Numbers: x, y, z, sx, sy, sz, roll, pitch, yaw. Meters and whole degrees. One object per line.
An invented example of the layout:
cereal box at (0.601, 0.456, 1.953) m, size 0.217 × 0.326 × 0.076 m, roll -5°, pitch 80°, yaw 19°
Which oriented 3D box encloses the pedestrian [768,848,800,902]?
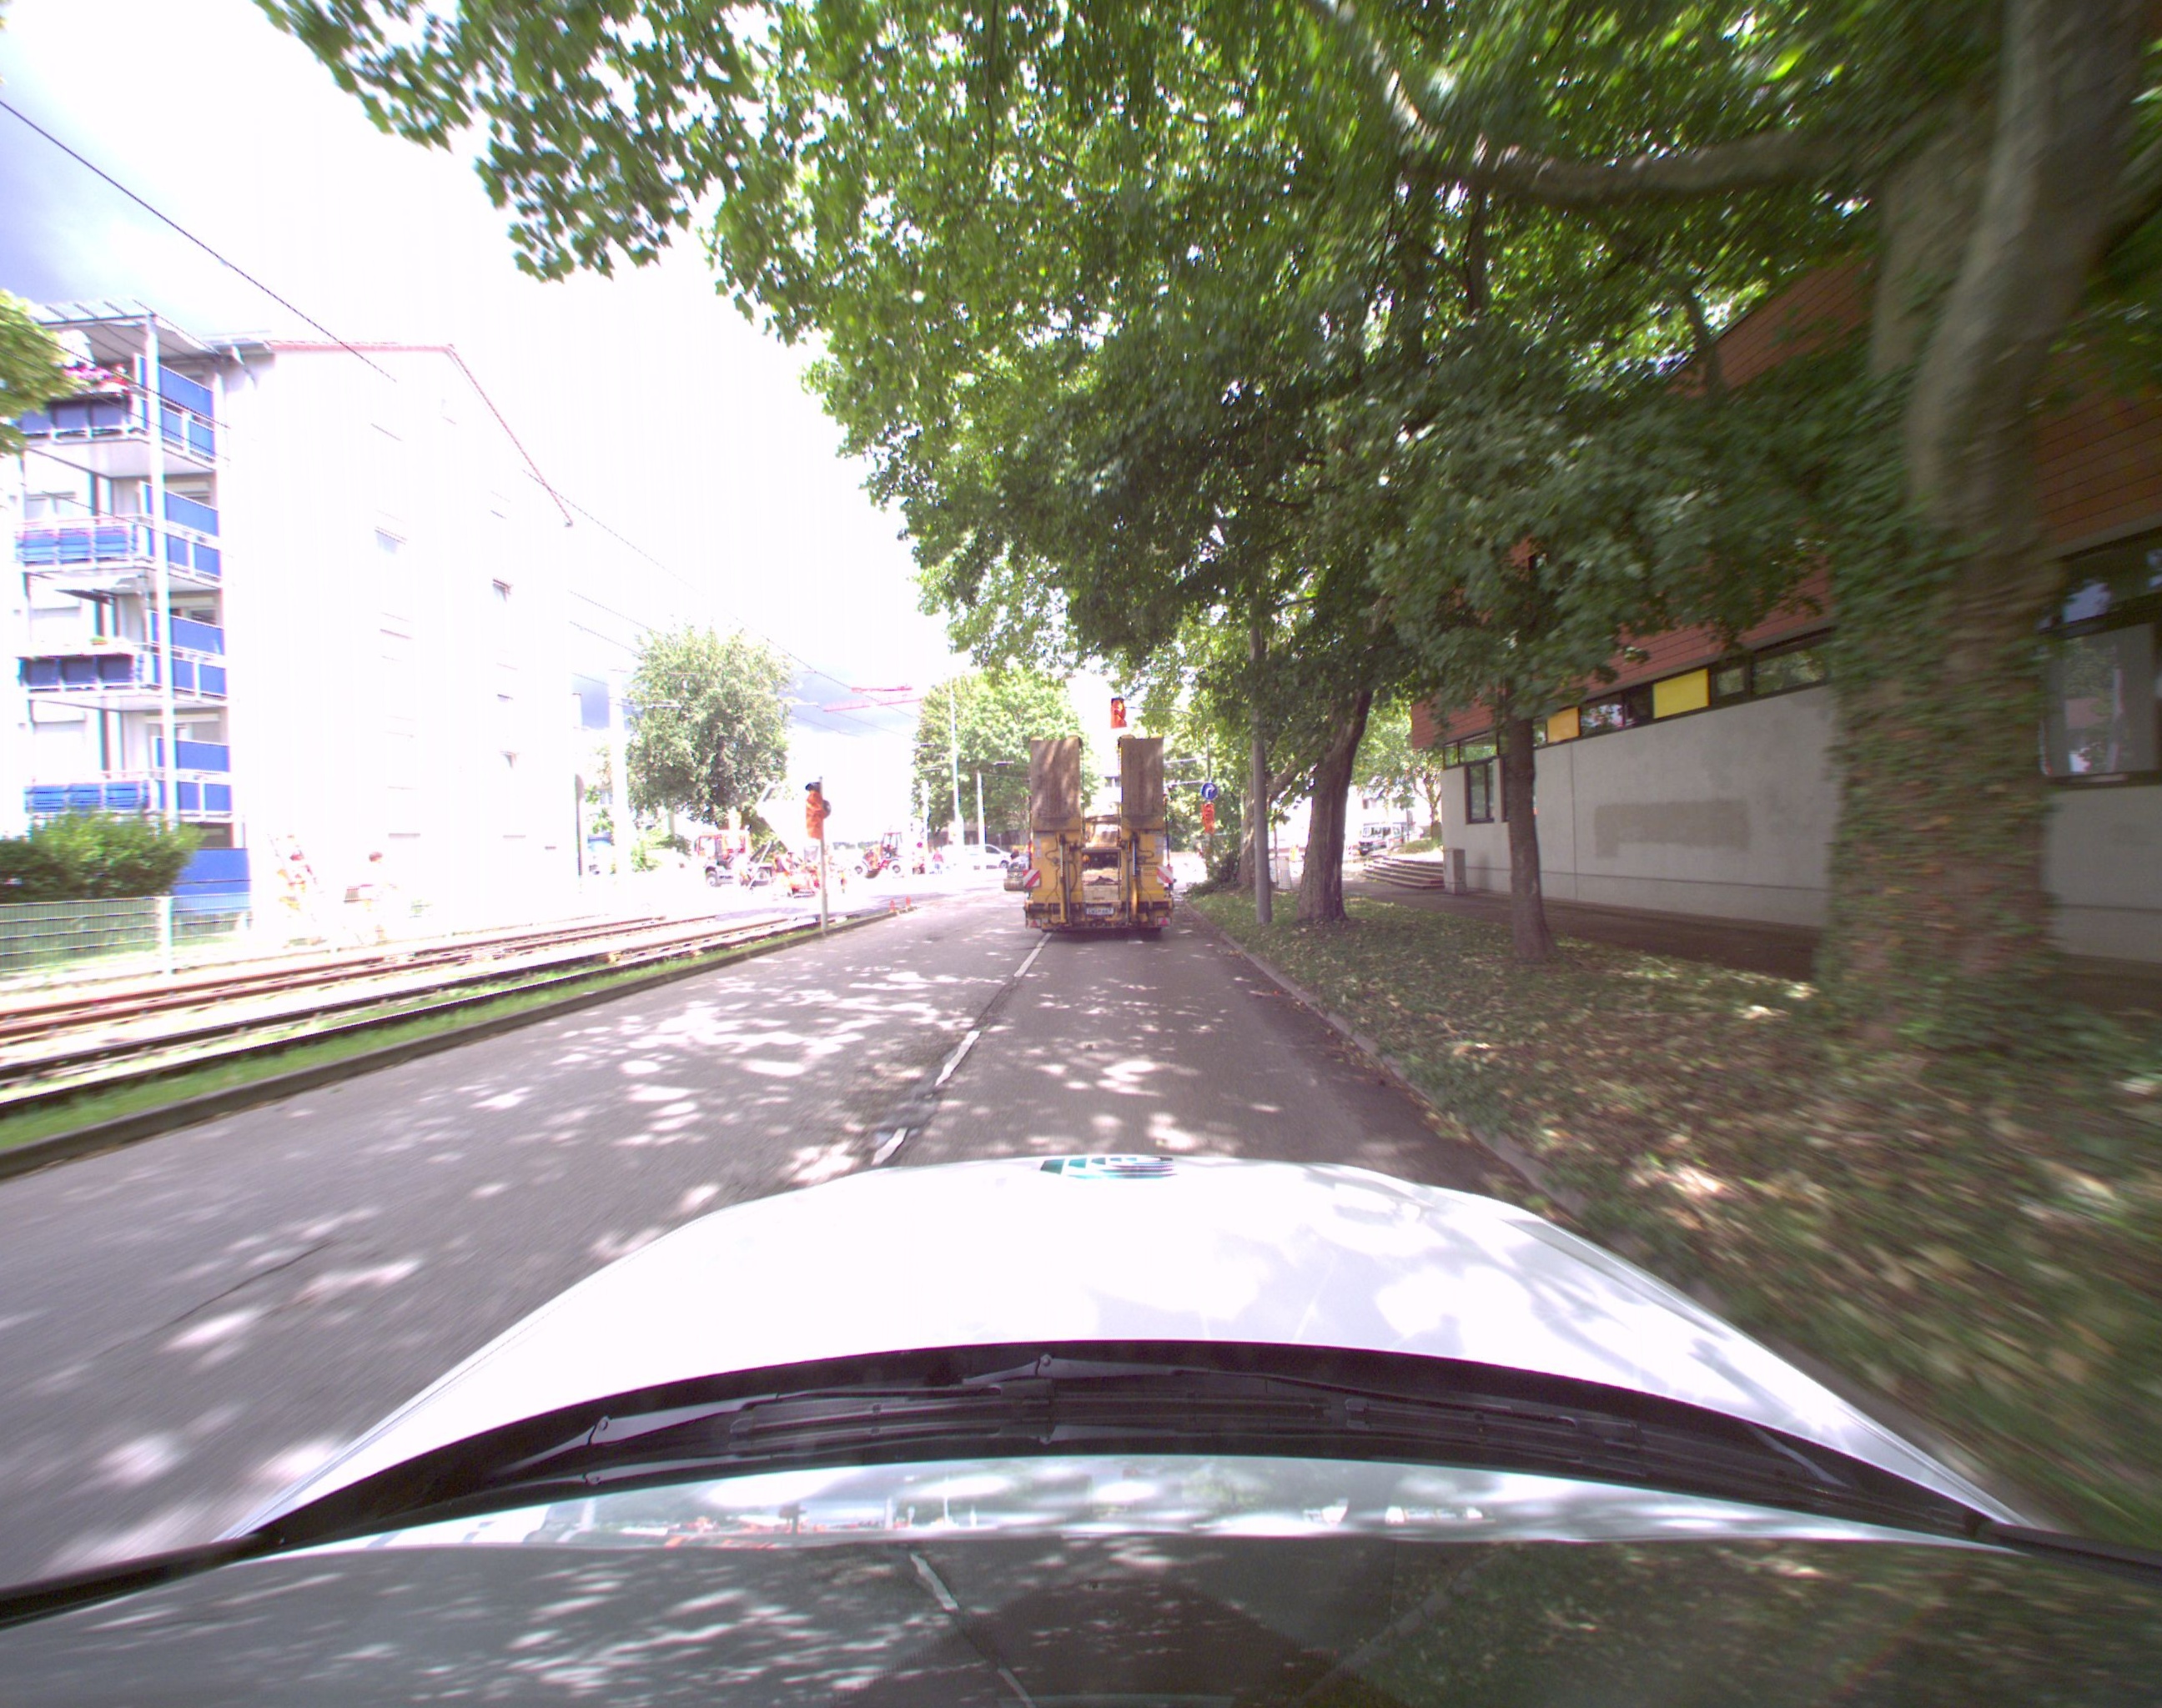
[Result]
pedestrian at (-9.976, 0.687, 27.404) m, size 0.887 × 1.760 × 0.833 m, roll -1°, pitch 0°, yaw -14°

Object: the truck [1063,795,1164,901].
truck at (1.318, -0.187, 28.508) m, size 2.975 × 3.135 × 7.898 m, roll -1°, pitch 0°, yaw 5°

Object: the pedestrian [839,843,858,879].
pedestrian at (-12.277, 0.380, 43.051) m, size 0.834 × 1.867 × 0.885 m, roll -1°, pitch 0°, yaw -10°

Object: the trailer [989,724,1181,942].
trailer at (0.536, -0.345, 19.078) m, size 3.139 × 3.552 × 11.112 m, roll -1°, pitch 0°, yaw 5°

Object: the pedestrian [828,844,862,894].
pedestrian at (-9.009, 0.547, 31.047) m, size 0.877 × 1.867 × 0.842 m, roll -1°, pitch 0°, yaw 31°

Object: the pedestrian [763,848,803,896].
pedestrian at (-10.836, 0.647, 29.616) m, size 1.117 × 1.715 × 0.877 m, roll -1°, pitch 0°, yaw -42°

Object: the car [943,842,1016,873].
car at (-7.318, 0.240, 58.592) m, size 5.093 × 2.102 × 1.968 m, roll -1°, pitch 0°, yaw -12°

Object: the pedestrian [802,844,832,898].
pedestrian at (-9.332, 0.599, 28.771) m, size 0.890 × 1.867 × 0.830 m, roll -1°, pitch 0°, yaw -27°

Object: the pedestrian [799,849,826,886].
pedestrian at (-12.166, 0.602, 36.907) m, size 0.882 × 1.645 × 0.900 m, roll -1°, pitch 0°, yaw 1°

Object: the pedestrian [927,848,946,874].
pedestrian at (-8.021, 0.378, 45.327) m, size 0.913 × 1.409 × 0.753 m, roll -1°, pitch 0°, yaw 0°

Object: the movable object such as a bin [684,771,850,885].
movable object such as a bin at (-16.394, -1.174, 42.252) m, size 9.115 × 5.414 × 2.680 m, roll -1°, pitch 0°, yaw 28°

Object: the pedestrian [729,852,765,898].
pedestrian at (-12.304, 0.750, 30.004) m, size 0.826 × 1.645 × 0.894 m, roll -1°, pitch 0°, yaw 36°

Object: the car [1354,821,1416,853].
car at (23.467, -1.284, 62.891) m, size 4.261 × 2.365 × 2.140 m, roll -1°, pitch 0°, yaw -26°

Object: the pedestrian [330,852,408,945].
pedestrian at (-13.651, 0.833, 15.629) m, size 0.697 × 1.718 × 0.867 m, roll -1°, pitch 0°, yaw 2°

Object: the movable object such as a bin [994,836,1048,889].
movable object such as a bin at (-2.354, 0.335, 32.359) m, size 1.389 × 2.013 × 2.565 m, roll -1°, pitch 0°, yaw 13°

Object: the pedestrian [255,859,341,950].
pedestrian at (-14.618, 0.923, 15.227) m, size 0.729 × 1.625 × 0.867 m, roll -1°, pitch 0°, yaw 2°

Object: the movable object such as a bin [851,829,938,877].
movable object such as a bin at (-10.607, -0.044, 46.339) m, size 4.325 × 2.629 × 2.234 m, roll -1°, pitch 0°, yaw 28°
